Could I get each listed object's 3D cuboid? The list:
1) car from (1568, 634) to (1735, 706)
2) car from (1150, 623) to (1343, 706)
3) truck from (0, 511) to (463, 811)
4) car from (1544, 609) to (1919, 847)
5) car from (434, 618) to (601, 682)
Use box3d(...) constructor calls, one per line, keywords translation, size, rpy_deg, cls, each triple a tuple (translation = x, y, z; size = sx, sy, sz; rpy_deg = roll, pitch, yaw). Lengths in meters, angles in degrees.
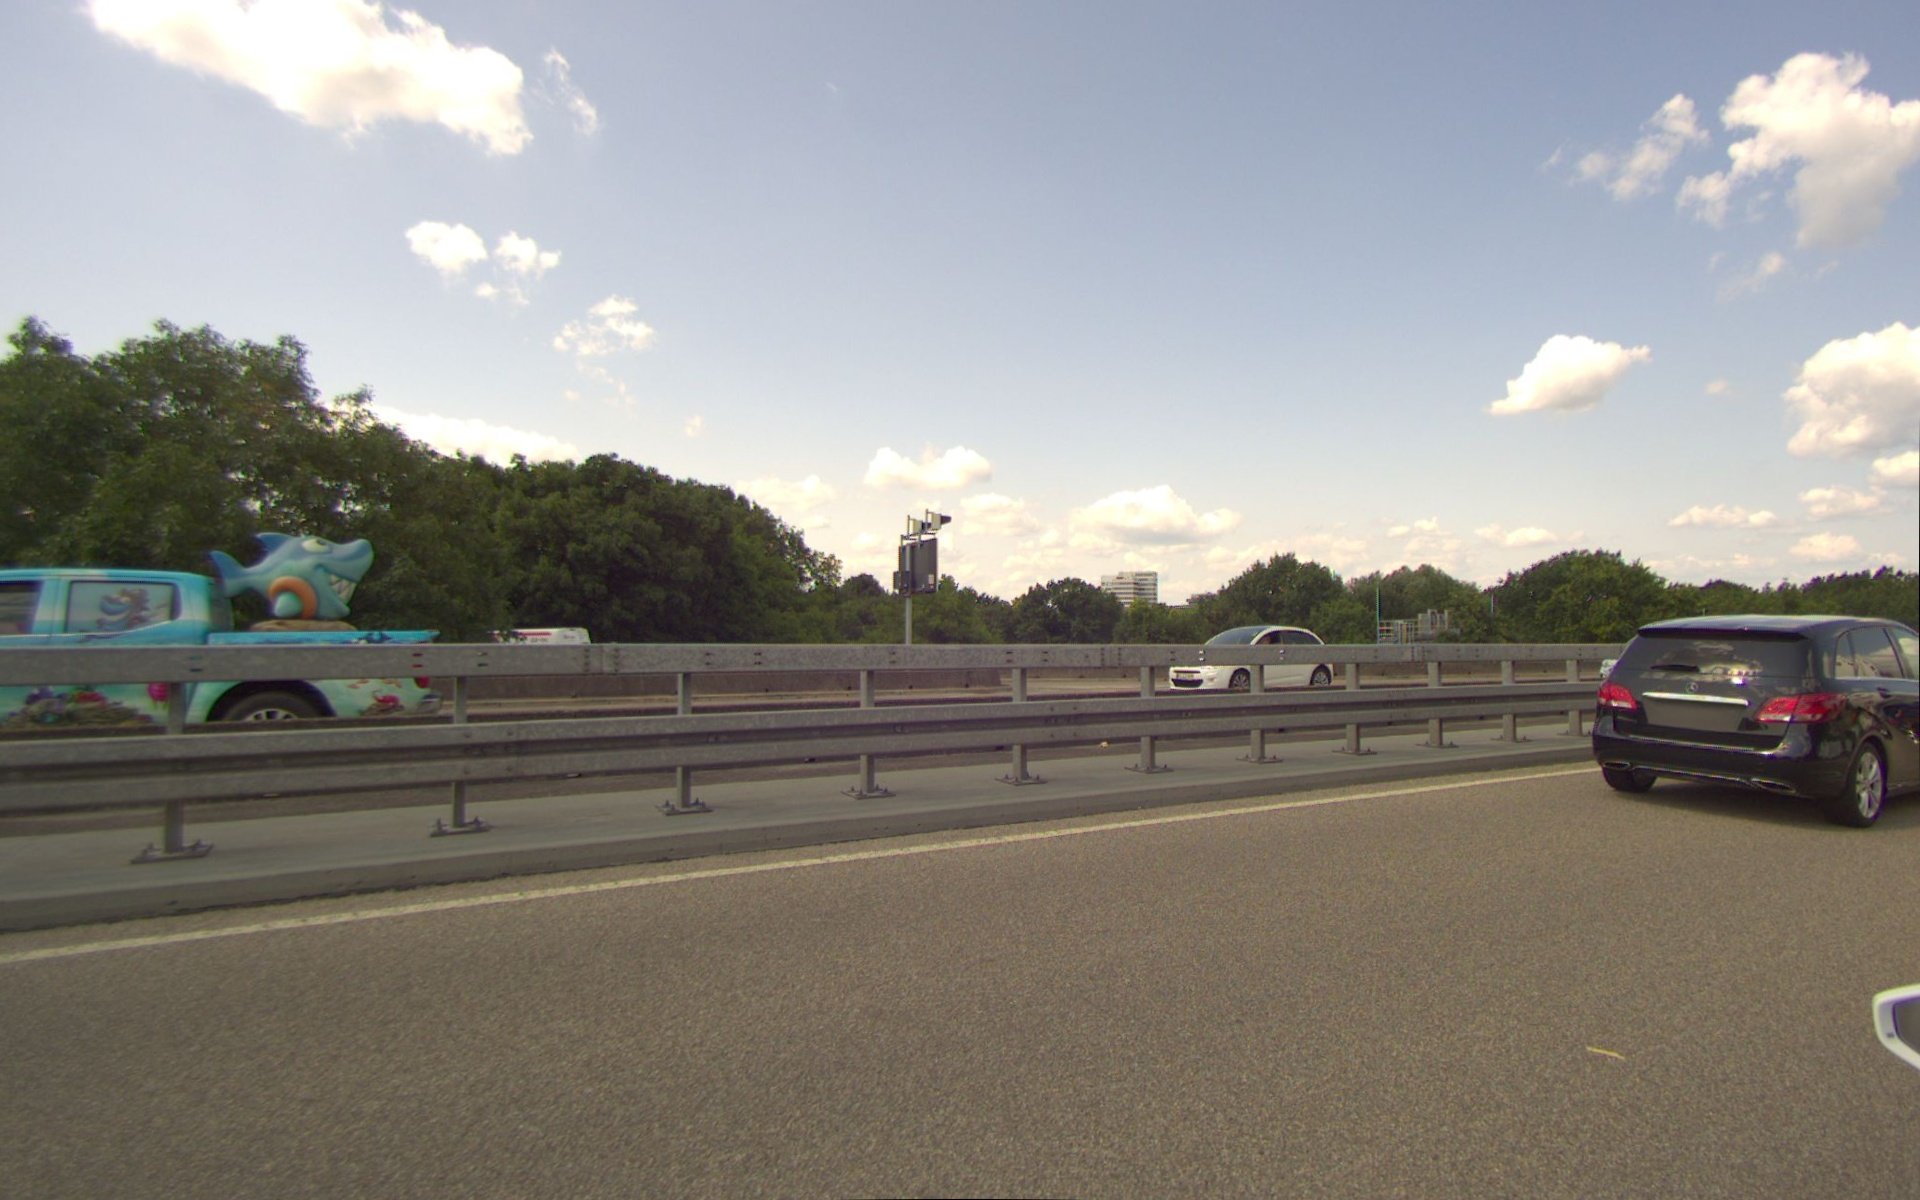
box3d(translation=(17.105, 1.671, 24.801), size=(4.197, 1.549, 1.891), rpy_deg=(2, 0, -32), cls="car")
box3d(translation=(6.268, 1.352, 21.904), size=(3.905, 1.602, 1.821), rpy_deg=(2, 0, -29), cls="car")
box3d(translation=(-7.097, 0.456, 8.469), size=(5.125, 2.216, 1.865), rpy_deg=(2, 0, -29), cls="truck")
box3d(translation=(7.130, 0.909, 8.561), size=(4.539, 1.548, 1.703), rpy_deg=(2, 0, -30), cls="car")
box3d(translation=(-15.020, 1.643, 34.147), size=(5.064, 1.923, 2.001), rpy_deg=(2, 0, 16), cls="car")
